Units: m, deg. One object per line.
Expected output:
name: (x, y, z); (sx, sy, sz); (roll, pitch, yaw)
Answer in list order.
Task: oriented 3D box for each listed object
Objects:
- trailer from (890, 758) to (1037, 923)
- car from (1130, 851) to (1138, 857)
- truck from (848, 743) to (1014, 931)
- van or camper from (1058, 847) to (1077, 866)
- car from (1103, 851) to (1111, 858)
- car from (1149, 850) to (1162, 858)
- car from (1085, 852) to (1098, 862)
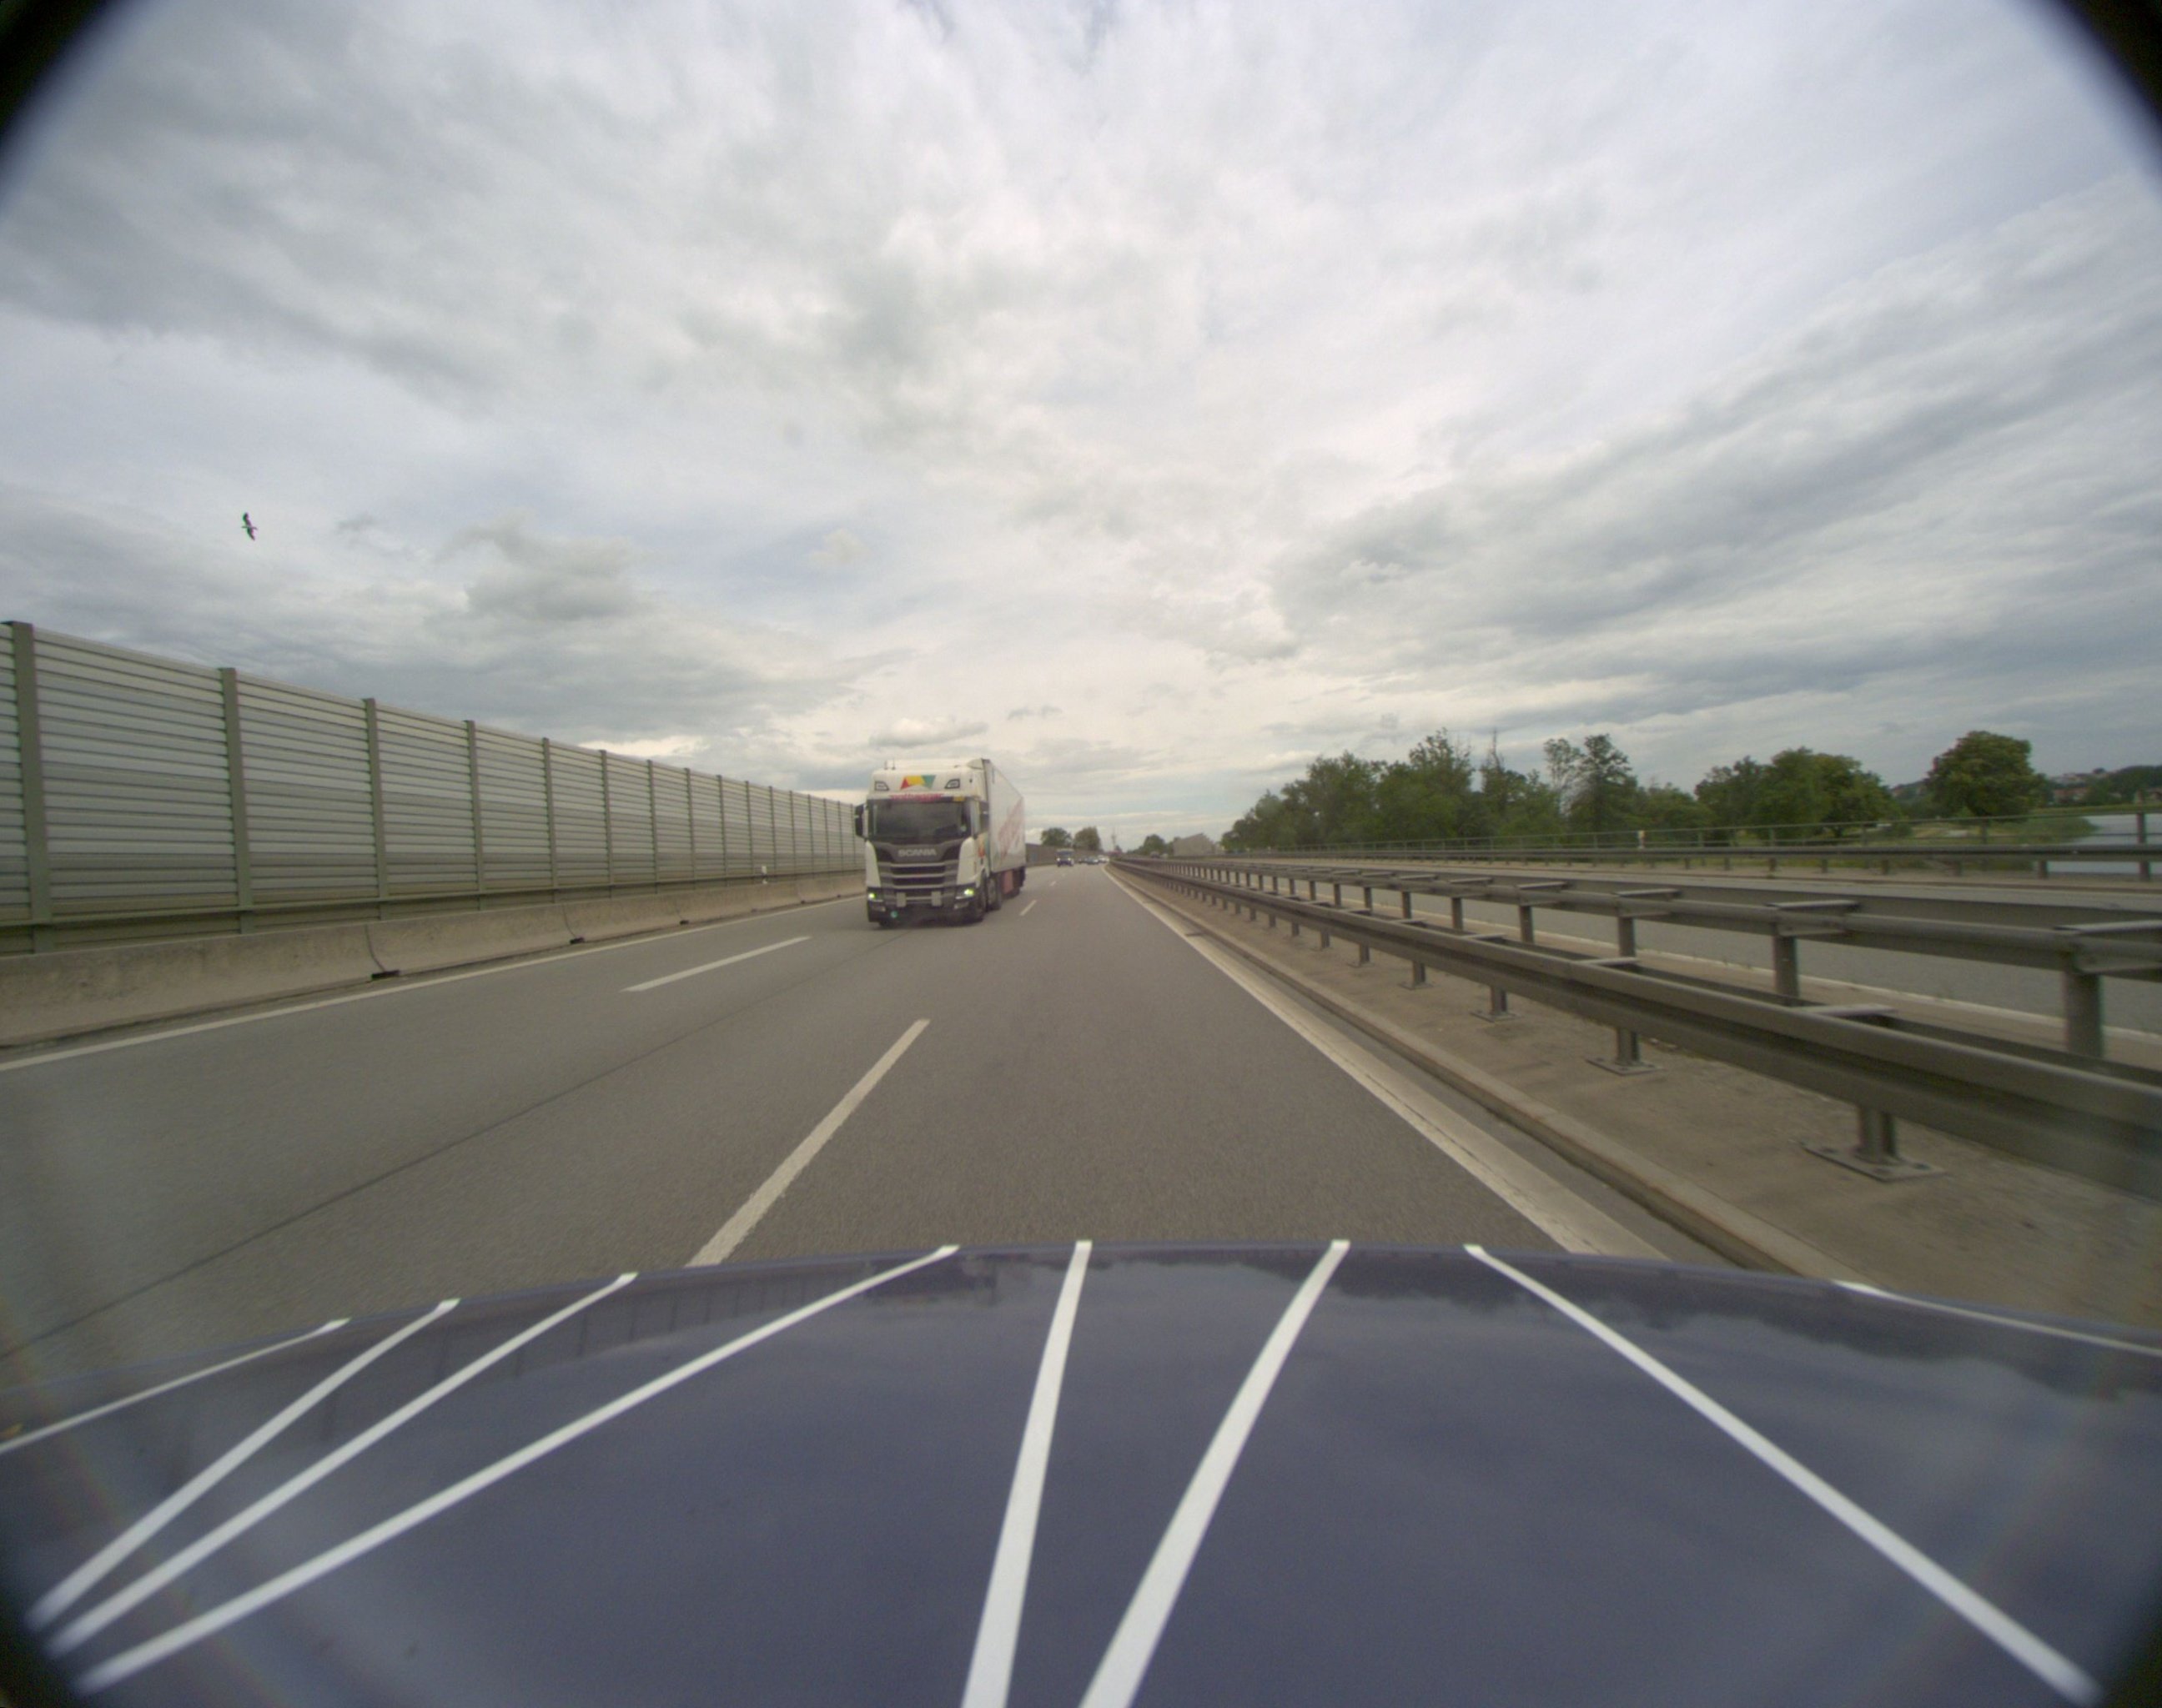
trailer: (-3.433, -0.408, 26.647); (2.800, 4.150, 14.101); (-2, 0, 0)
car: (13.845, -0.030, 197.813); (1.845, 1.522, 4.836); (-2, 0, 2)
truck: (-3.472, -0.357, 19.158); (2.762, 3.936, 5.678); (-2, 0, 2)
van or camper: (-2.042, 0.391, 114.805); (2.435, 2.680, 7.227); (-2, -1, 2)
car: (6.672, 0.119, 192.118); (1.889, 1.608, 4.000); (-3, 1, 3)
car: (13.560, 0.006, 138.636); (1.974, 1.395, 4.710); (-2, 0, 2)
car: (1.817, 0.452, 128.320); (1.889, 1.608, 4.001); (-2, -1, 3)
